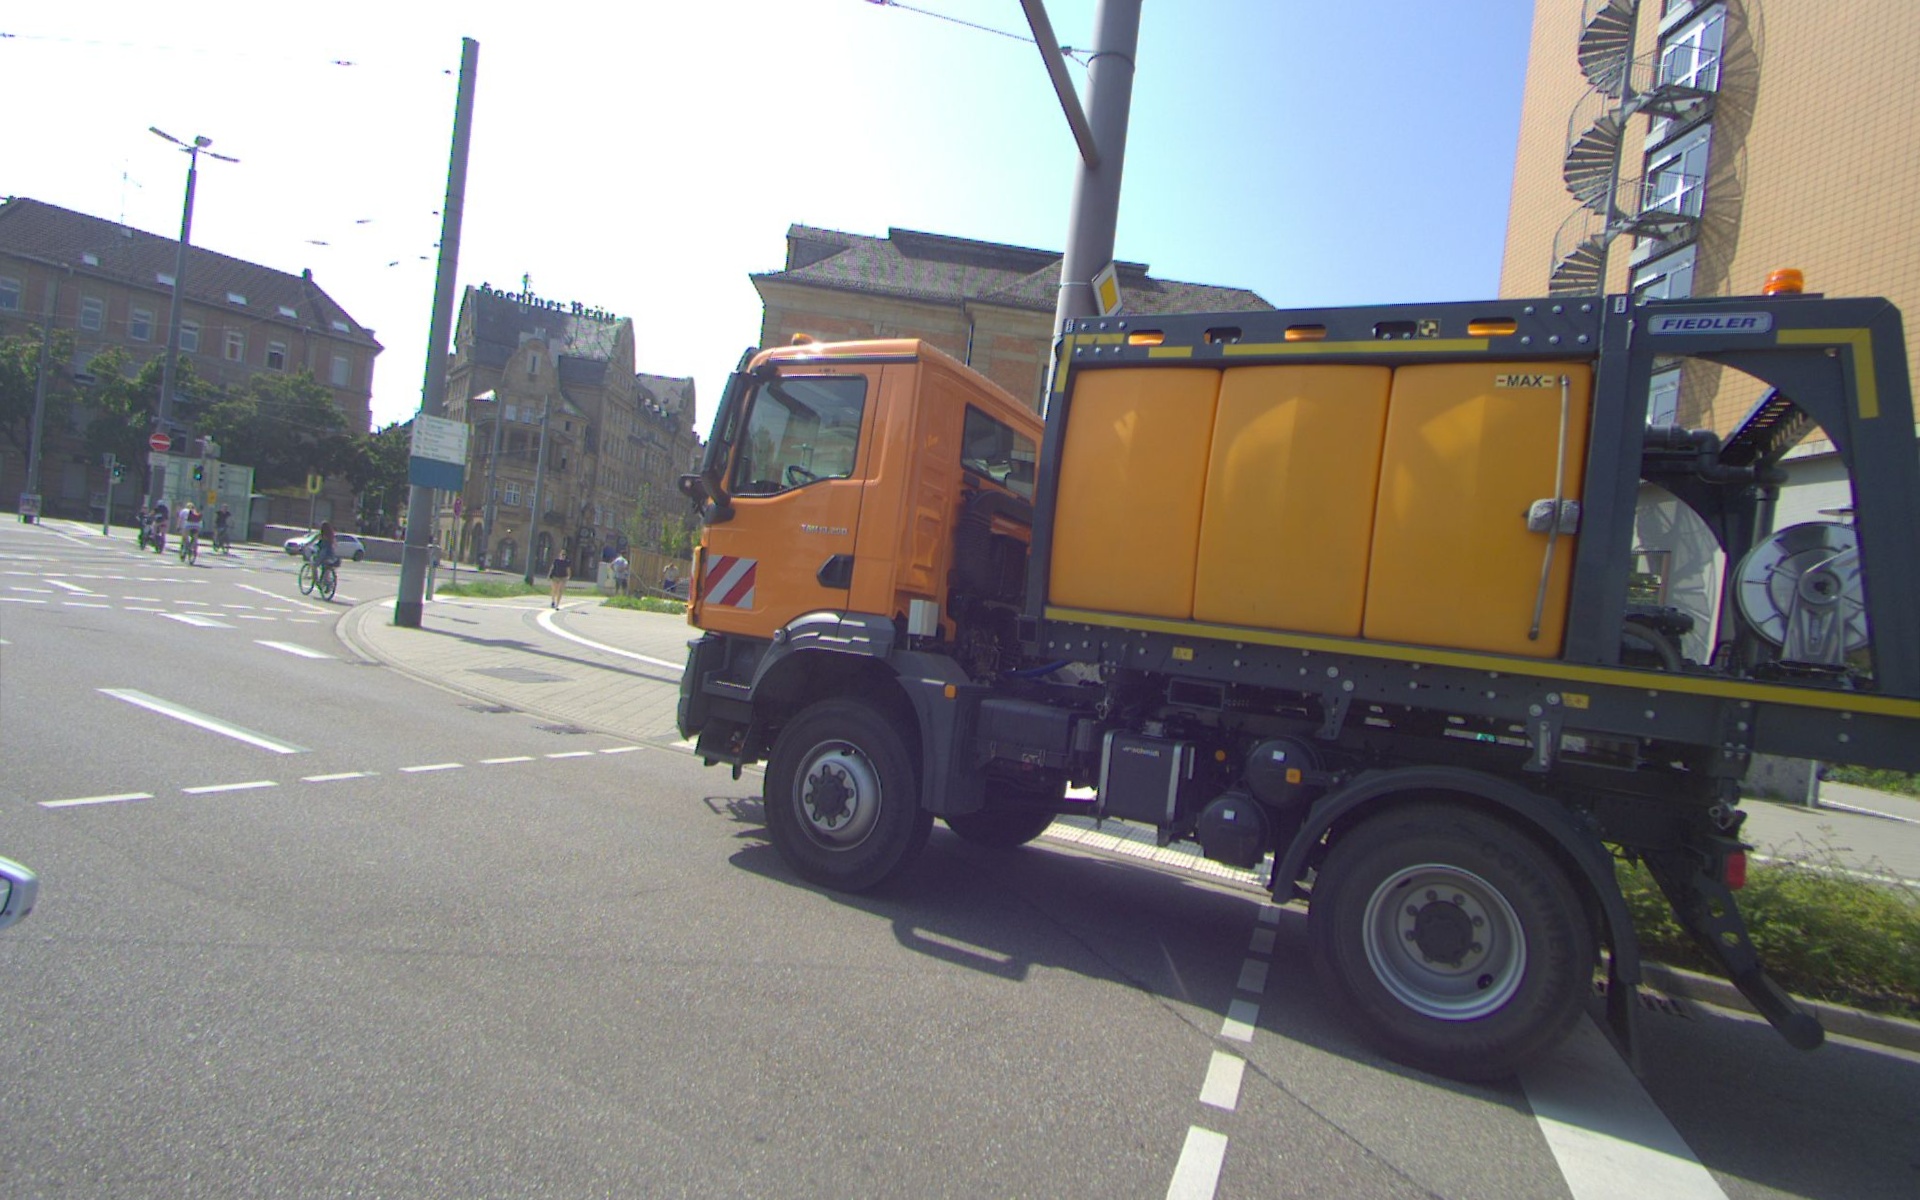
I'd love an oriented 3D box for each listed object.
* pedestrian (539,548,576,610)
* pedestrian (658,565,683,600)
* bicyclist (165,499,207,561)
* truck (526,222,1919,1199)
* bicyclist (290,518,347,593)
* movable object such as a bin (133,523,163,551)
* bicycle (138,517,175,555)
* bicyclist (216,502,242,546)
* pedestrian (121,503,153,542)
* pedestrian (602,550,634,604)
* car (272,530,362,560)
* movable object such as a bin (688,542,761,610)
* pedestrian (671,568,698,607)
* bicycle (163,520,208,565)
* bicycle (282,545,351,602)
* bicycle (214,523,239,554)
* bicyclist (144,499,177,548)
[{"bbox_3d":[-11.081,-0.572,27.733,0.728,1.595,0.786,6,1,-18],"label":"pedestrian"},{"bbox_3d":[-10.797,-0.645,37.535,0.661,1.229,0.522,6,1,-35],"label":"pedestrian"},{"bbox_3d":[-20.804,-1.884,27.046,0.701,1.536,0.627,7,1,39],"label":"bicyclist"},{"bbox_3d":[0.886,0.102,5.938,6.743,3.174,2.496,7,0,29],"label":"truck"},{"bbox_3d":[-14.199,-0.985,22.266,0.652,1.536,0.735,7,1,31],"label":"bicyclist"},{"bbox_3d":[-35.276,-2.752,43.729,0.803,1.091,0.510,6,1,-17],"label":"movable object such as a bin"},{"bbox_3d":[-25.522,-2.035,31.945,1.629,1.068,0.535,7,1,40],"label":"bicycle"},{"bbox_3d":[-27.765,-2.882,38.201,0.610,1.548,0.514,6,1,-45],"label":"bicyclist"},{"bbox_3d":[-36.010,-3.402,44.030,0.839,1.564,0.527,6,1,-12],"label":"pedestrian"},{"bbox_3d":[-11.715,-0.800,34.479,0.808,1.746,0.545,7,1,-14],"label":"pedestrian"},{"bbox_3d":[-33.611,-2.852,52.737,1.963,1.103,4.001,7,0,2],"label":"car"},{"bbox_3d":[-9.842,-0.916,42.524,1.927,2.337,5.559,7,-2,-4],"label":"movable object such as a bin"},{"bbox_3d":[-10.725,-0.466,39.209,0.679,1.417,0.767,7,1,2],"label":"pedestrian"},{"bbox_3d":[-20.930,-1.553,27.172,1.629,1.068,0.535,7,1,40],"label":"bicycle"},{"bbox_3d":[-14.241,-0.595,22.250,1.792,1.068,0.492,7,1,32],"label":"bicycle"},{"bbox_3d":[-27.827,-2.331,38.170,0.468,1.068,1.633,6,0,-44],"label":"bicycle"},{"bbox_3d":[-25.187,-2.411,31.692,0.881,1.410,0.530,7,1,39],"label":"bicyclist"}]
